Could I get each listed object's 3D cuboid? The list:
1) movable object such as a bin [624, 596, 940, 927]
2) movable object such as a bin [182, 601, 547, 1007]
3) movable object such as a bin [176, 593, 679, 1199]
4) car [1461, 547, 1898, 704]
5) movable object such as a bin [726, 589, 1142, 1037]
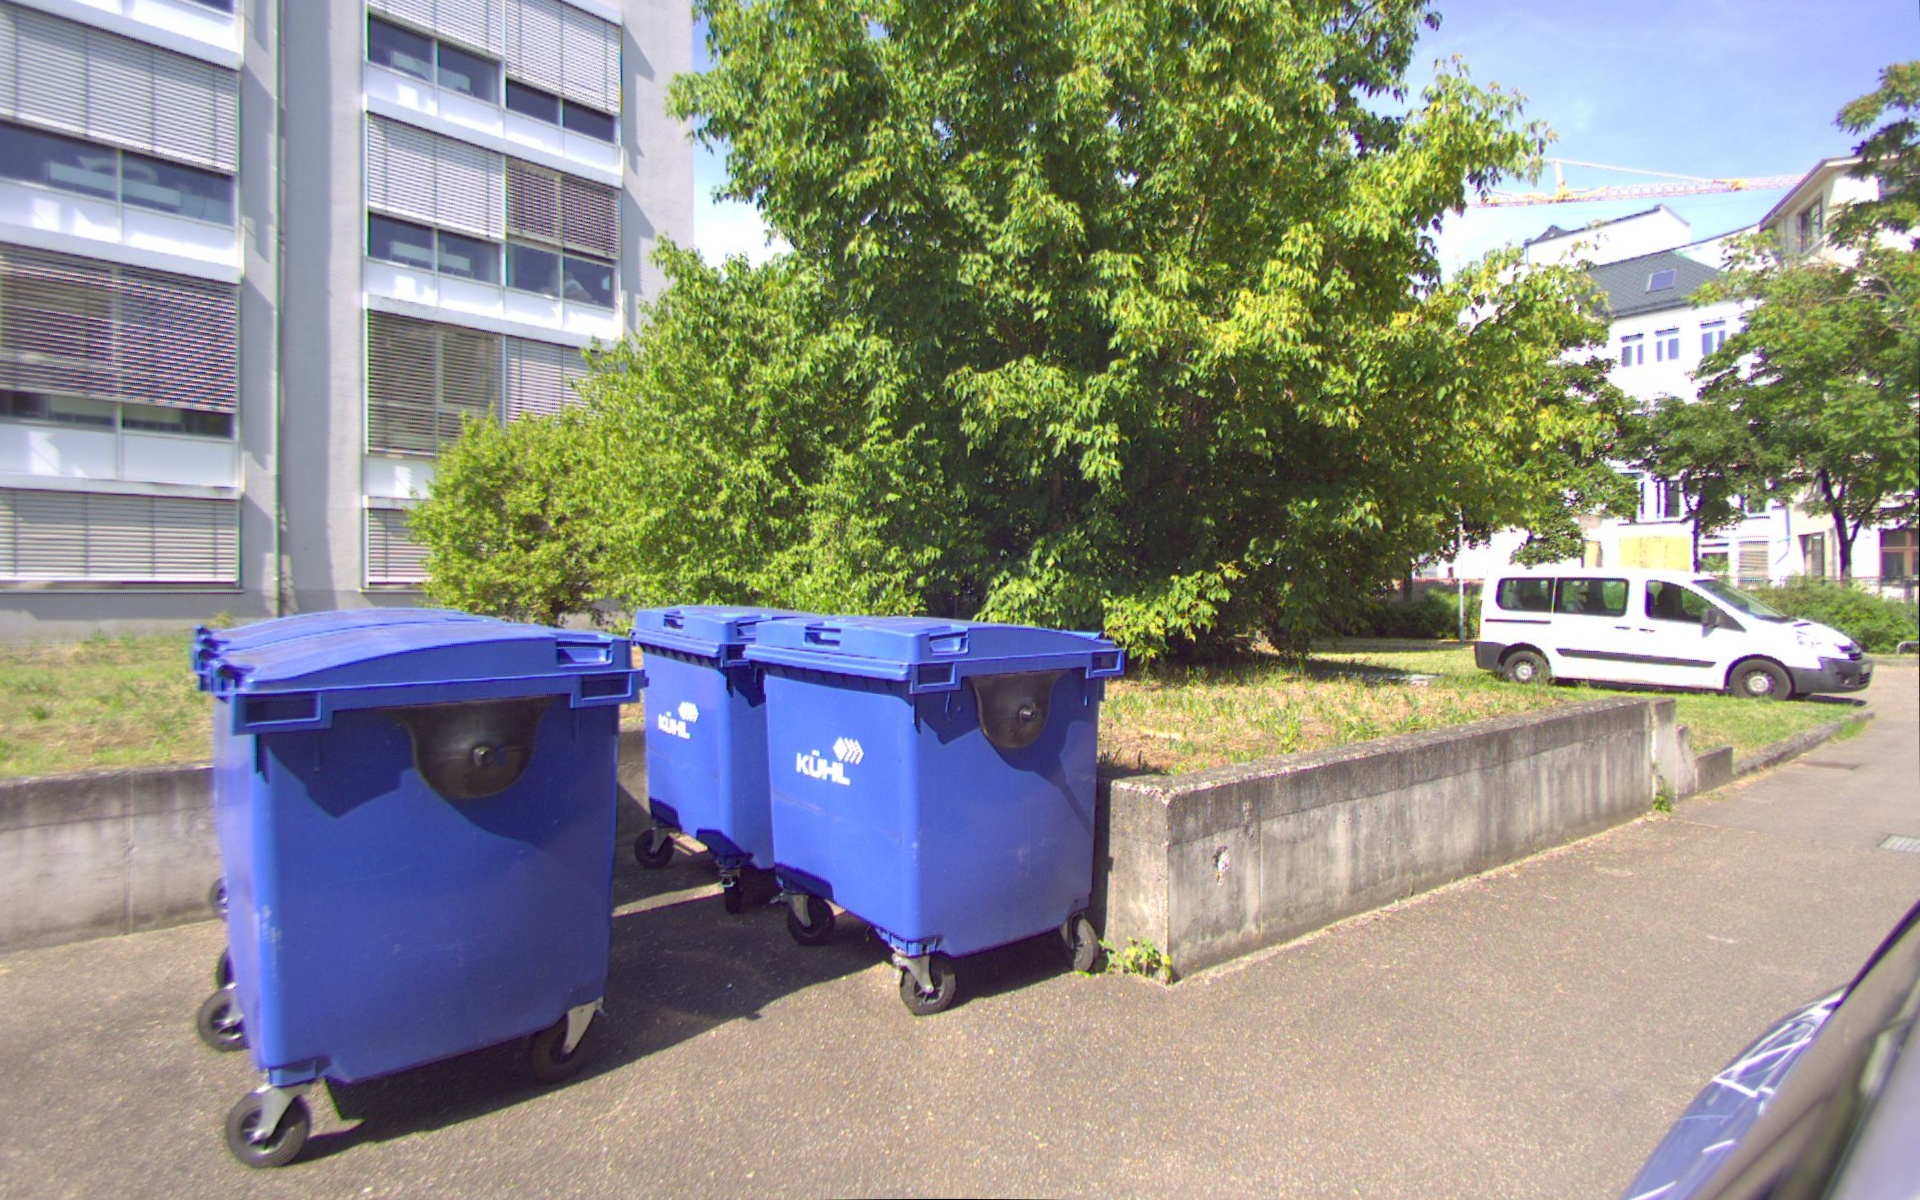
[{"bbox_3d":[-0.914,0.666,5.036,1.121,1.357,1.251,0,1,-36],"label":"movable object such as a bin"},{"bbox_3d":[-2.507,0.692,4.246,1.123,1.353,1.157,0,1,-42],"label":"movable object such as a bin"},{"bbox_3d":[-1.660,0.670,3.109,1.109,1.372,1.249,0,1,-42],"label":"movable object such as a bin"},{"bbox_3d":[10.555,0.316,15.277,1.963,1.957,5.037,0,0,-37],"label":"car"},{"bbox_3d":[-0.135,0.660,3.988,1.121,1.335,1.251,-2,3,-37],"label":"movable object such as a bin"}]
